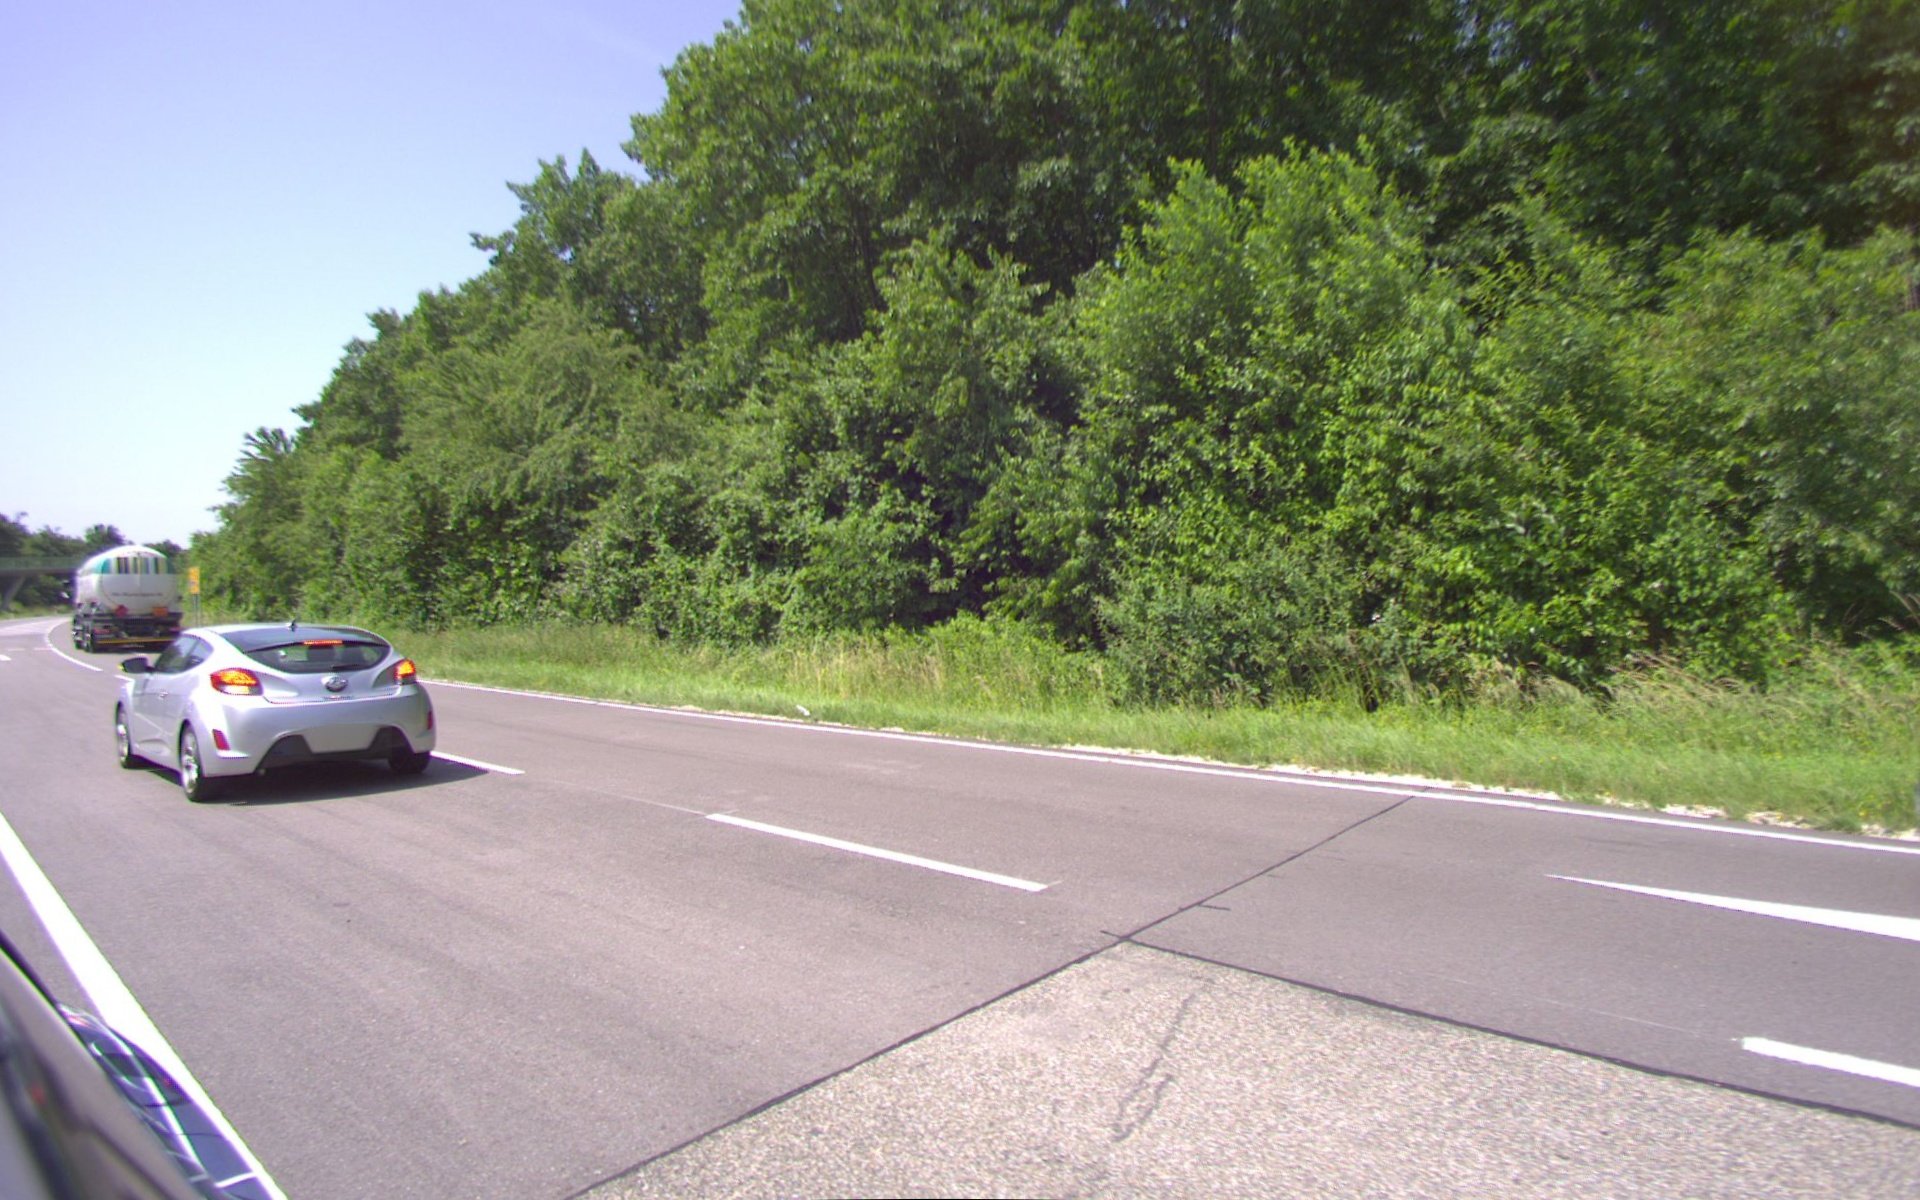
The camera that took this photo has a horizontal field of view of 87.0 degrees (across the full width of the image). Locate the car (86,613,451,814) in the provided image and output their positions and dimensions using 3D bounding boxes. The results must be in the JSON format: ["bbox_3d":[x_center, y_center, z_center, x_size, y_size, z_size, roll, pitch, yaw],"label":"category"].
[{"bbox_3d":[-6.482,0.904,9.313,4.094,1.430,1.691,-3,-1,39],"label":"car"}]

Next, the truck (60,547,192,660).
[{"bbox_3d":[-30.734,0.129,37.137,8.796,3.698,2.598,-1,0,43],"label":"truck"}]
